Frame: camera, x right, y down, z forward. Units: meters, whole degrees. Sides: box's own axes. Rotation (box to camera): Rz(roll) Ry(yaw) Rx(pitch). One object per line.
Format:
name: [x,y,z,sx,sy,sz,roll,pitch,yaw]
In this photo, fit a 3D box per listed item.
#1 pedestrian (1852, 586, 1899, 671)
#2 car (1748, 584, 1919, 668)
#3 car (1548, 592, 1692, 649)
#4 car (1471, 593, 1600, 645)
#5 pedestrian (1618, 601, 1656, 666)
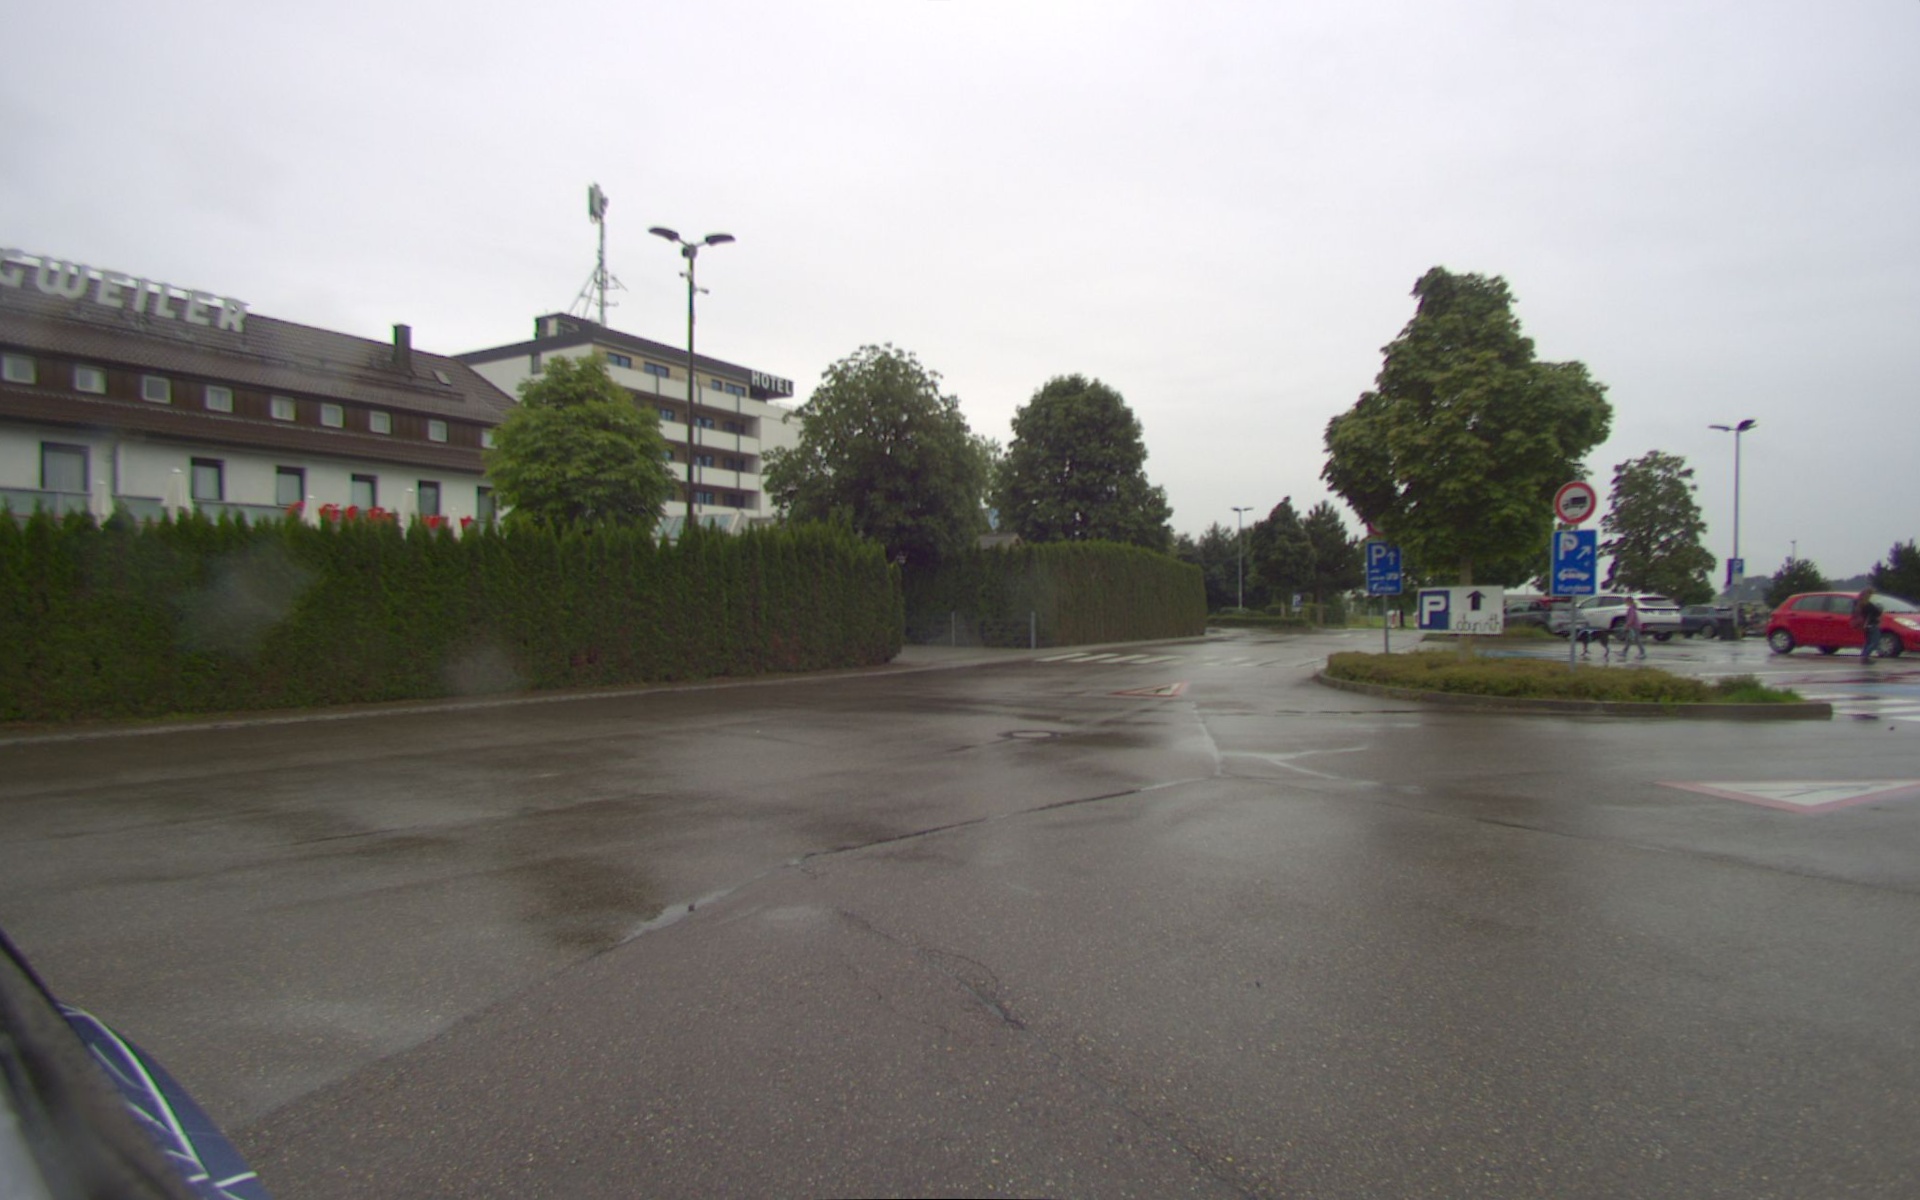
pedestrian: [18.144,0.562,20.070,0.646,1.651,0.707,0,-2,39]
car: [21.263,0.570,23.786,1.820,1.806,4.033,-1,-1,-12]
car: [23.362,0.722,36.021,1.692,1.876,4.379,1,-1,-12]
car: [20.275,0.666,35.846,1.692,1.728,4.036,1,-1,-12]
pedestrian: [14.603,0.722,21.823,0.644,1.372,0.446,1,-1,36]
